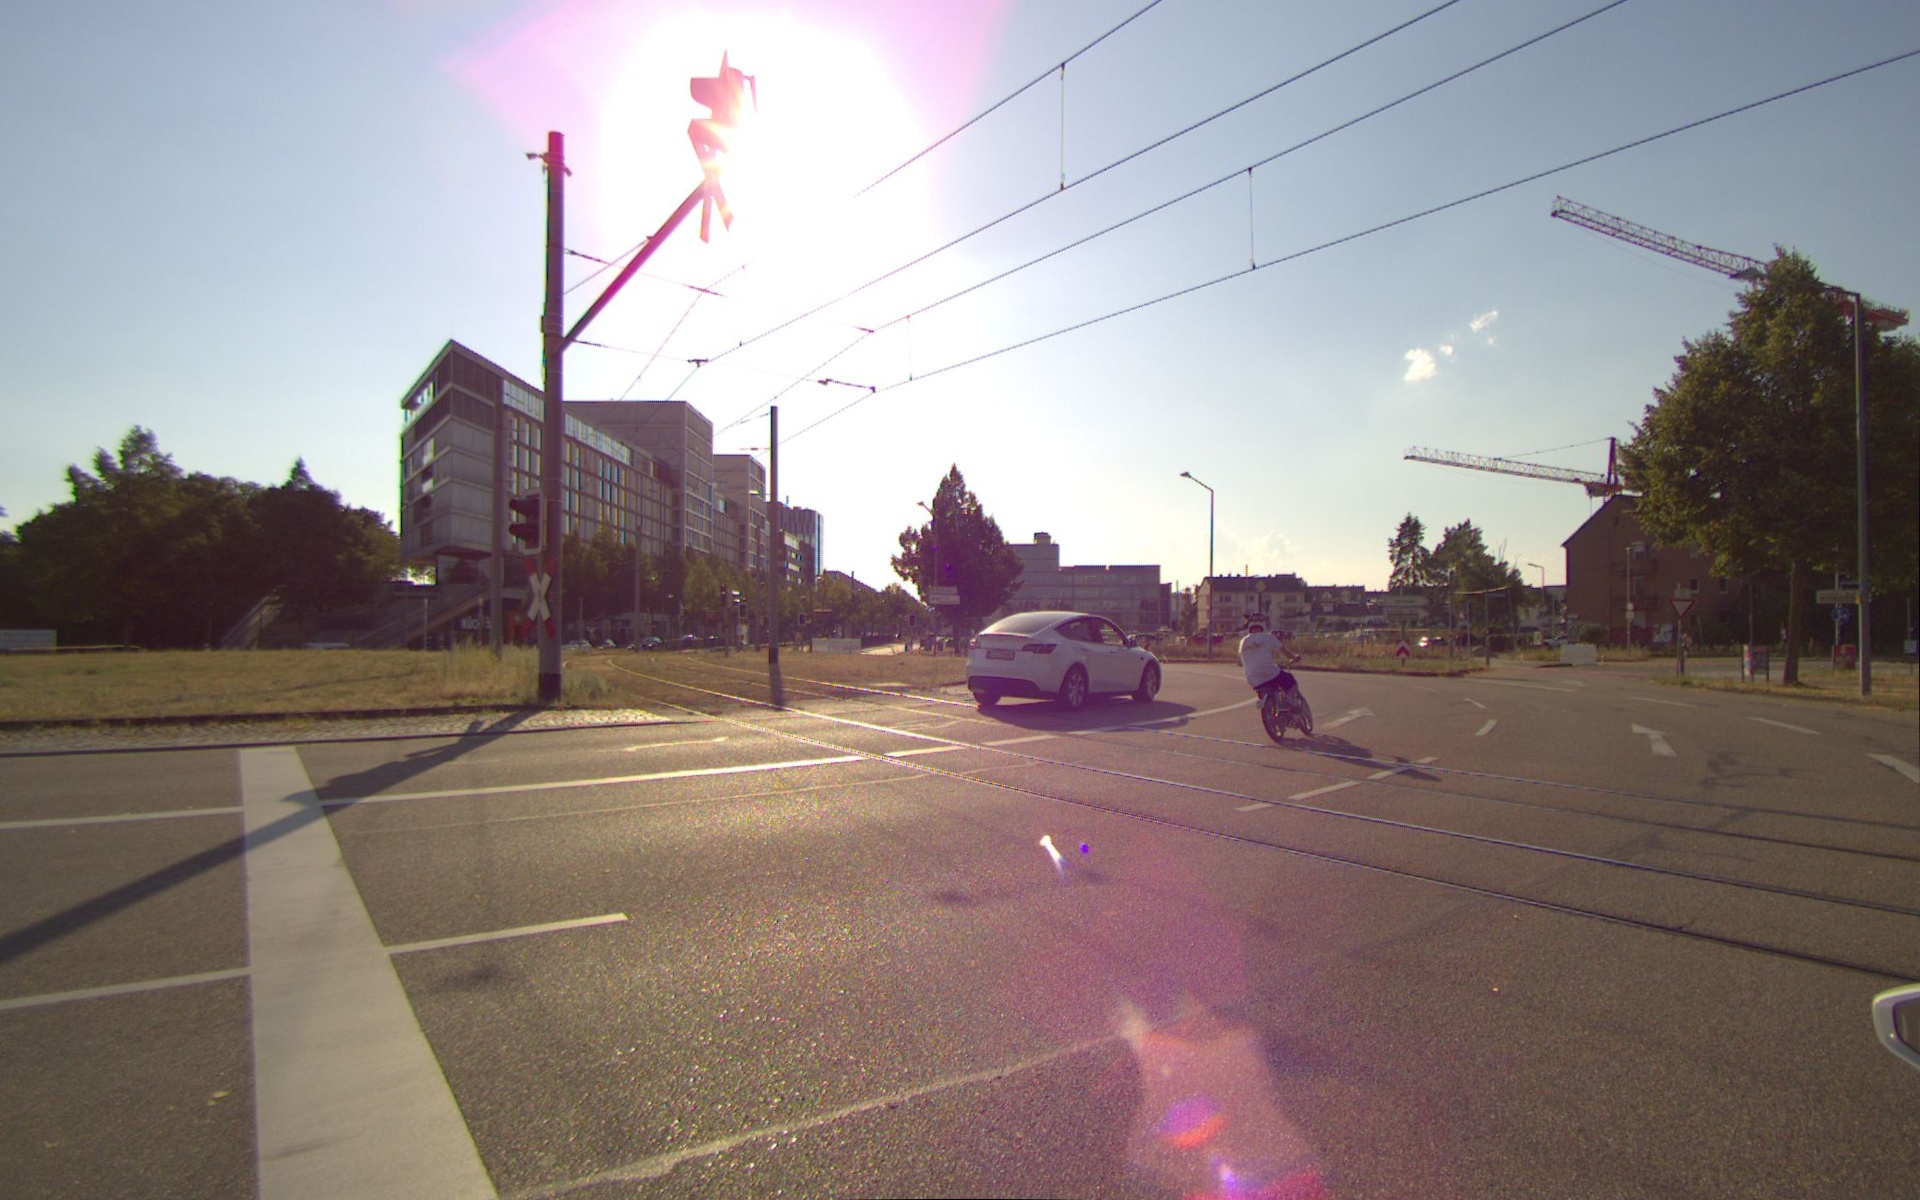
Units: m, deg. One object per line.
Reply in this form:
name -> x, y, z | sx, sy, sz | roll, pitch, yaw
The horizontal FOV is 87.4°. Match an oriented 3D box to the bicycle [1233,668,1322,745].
bicycle -> 4.191, 1.359, 13.186 | 0.472, 0.887, 1.848 | -1, -2, 39

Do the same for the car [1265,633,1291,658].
car -> 25.352, 3.612, 80.025 | 1.887, 1.878, 4.001 | -1, -2, 18

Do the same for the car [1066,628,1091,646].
car -> 14.272, 4.428, 121.020 | 1.964, 2.040, 3.994 | 0, -2, -9

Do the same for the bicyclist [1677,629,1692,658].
bicyclist -> 41.117, 2.467, 57.004 | 0.649, 1.583, 0.891 | -1, -2, 34

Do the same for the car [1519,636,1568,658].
car -> 55.370, 4.485, 95.413 | 1.649, 2.040, 3.798 | 1, -2, -25

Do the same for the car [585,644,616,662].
car -> -31.756, 4.640, 88.794 | 1.455, 1.495, 3.301 | 0, -2, 3

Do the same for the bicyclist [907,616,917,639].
bicyclist -> -3.656, 2.072, 76.196 | 0.597, 1.694, 0.477 | 0, -2, 26

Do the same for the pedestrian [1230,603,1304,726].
pedestrian -> 4.009, 0.820, 13.111 | 0.648, 1.539, 0.850 | -1, -2, 39

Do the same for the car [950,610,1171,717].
car -> 1.937, 1.031, 17.895 | 1.713, 1.620, 4.658 | 1, -1, 38

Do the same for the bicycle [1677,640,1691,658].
bicycle -> 40.966, 2.777, 56.821 | 0.589, 0.976, 2.099 | -1, -2, 34

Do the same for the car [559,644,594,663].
car -> -31.820, 4.443, 83.375 | 1.455, 1.495, 3.301 | 0, -2, 3

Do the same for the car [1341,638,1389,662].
car -> 35.177, 4.329, 87.371 | 1.649, 2.040, 3.798 | 1, -2, -25

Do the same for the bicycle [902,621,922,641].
bicycle -> -3.636, 2.354, 76.164 | 1.515, 1.493, 0.479 | -1, -2, 26
